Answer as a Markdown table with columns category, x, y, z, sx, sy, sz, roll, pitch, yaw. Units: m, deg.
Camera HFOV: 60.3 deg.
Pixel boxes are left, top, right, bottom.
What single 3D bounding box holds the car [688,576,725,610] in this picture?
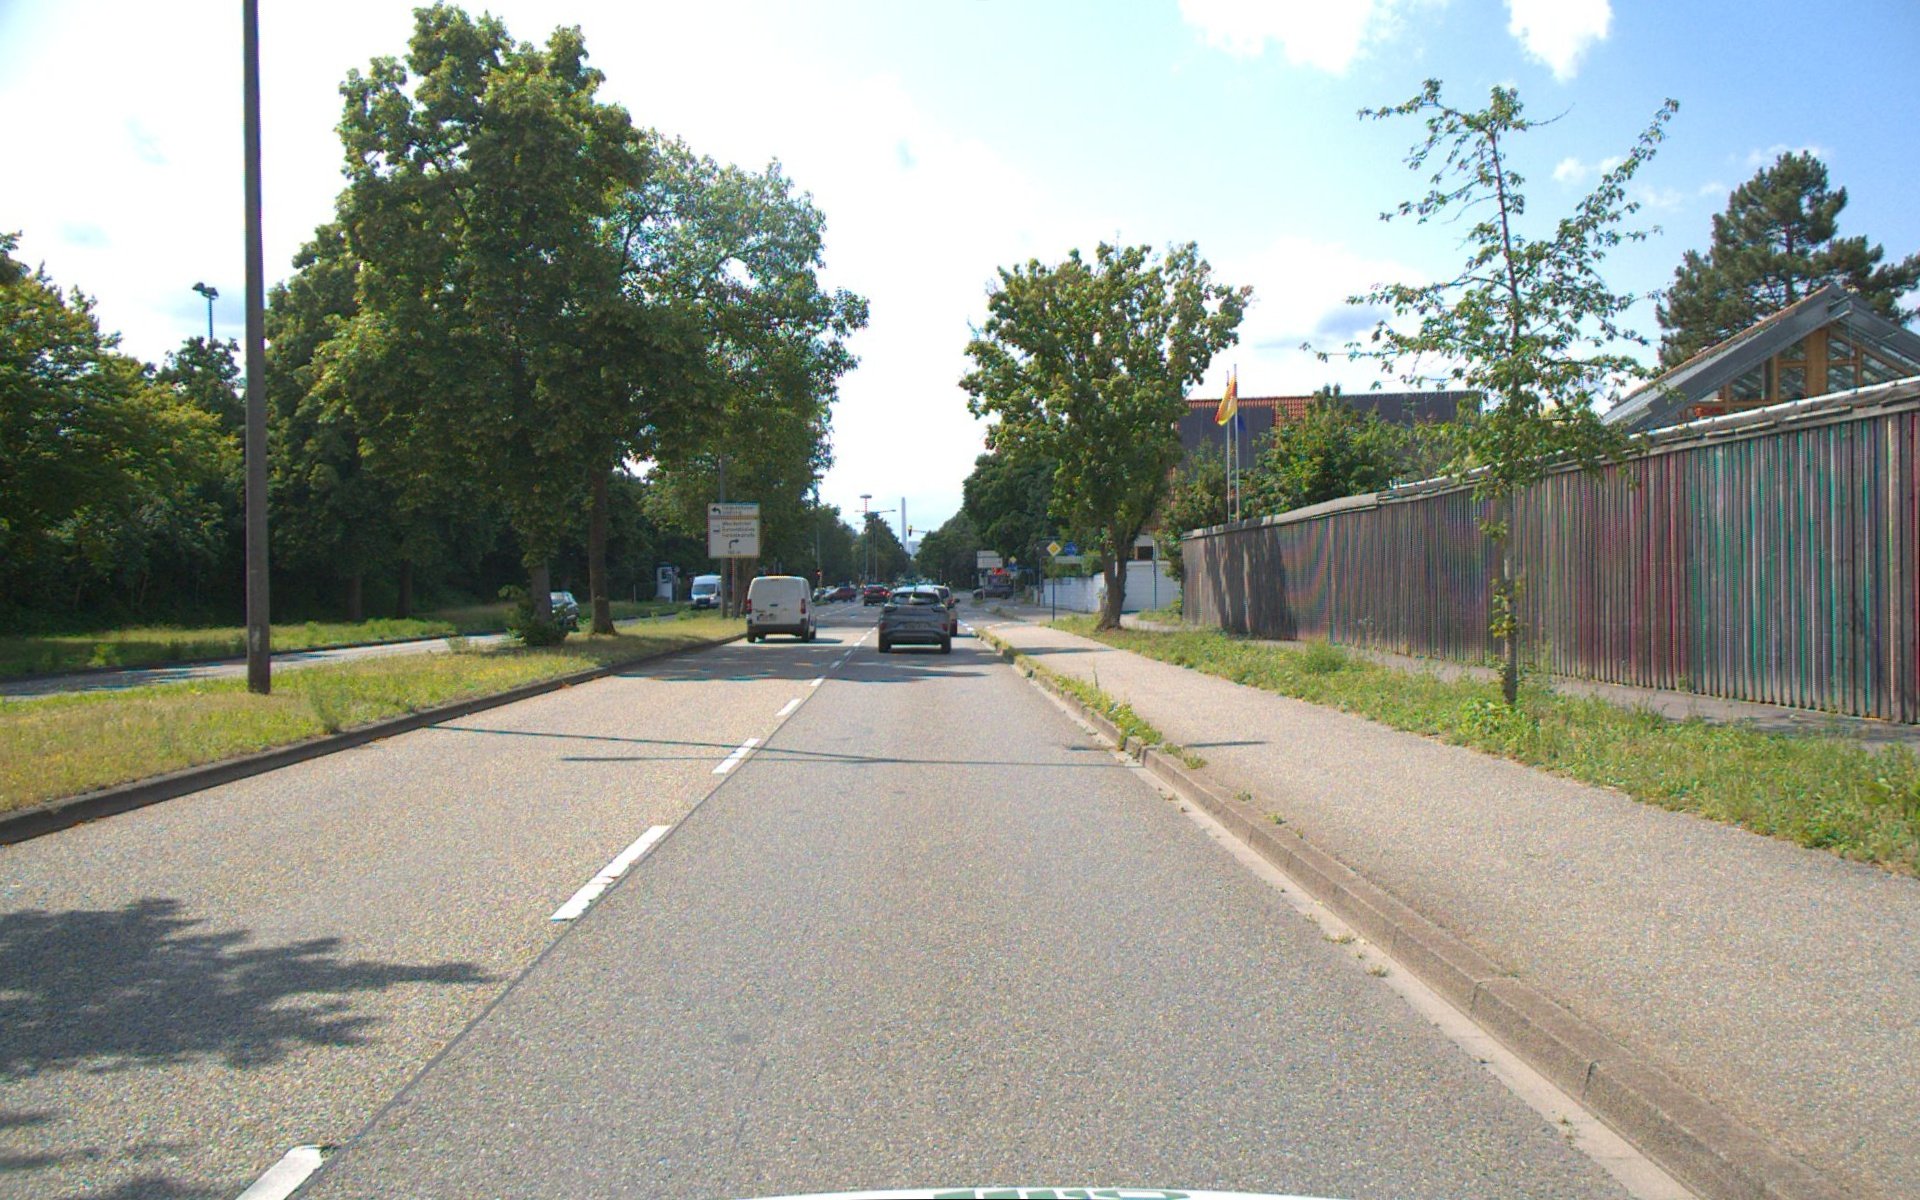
| category | x | y | z | sx | sy | sz | roll | pitch | yaw |
| --- | --- | --- | --- | --- | --- | --- | --- | --- | --- |
| car | -18.769 | -0.542 | 122.510 | 2.004 | 2.474 | 5.249 | -1 | 0 | -1 |

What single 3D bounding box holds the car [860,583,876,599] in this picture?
| category | x | y | z | sx | sy | sz | roll | pitch | yaw |
| --- | --- | --- | --- | --- | --- | --- | --- | --- | --- |
| car | -10.812 | -1.062 | 195.265 | 1.743 | 1.798 | 4.150 | -1 | 0 | -1 |

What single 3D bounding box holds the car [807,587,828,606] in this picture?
| category | x | y | z | sx | sy | sz | roll | pitch | yaw |
| --- | --- | --- | --- | --- | --- | --- | --- | --- | --- |
| car | -13.796 | -0.390 | 160.399 | 1.743 | 1.798 | 4.124 | -1 | 0 | -1 |

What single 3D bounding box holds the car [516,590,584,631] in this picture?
| category | x | y | z | sx | sy | sz | roll | pitch | yaw |
| --- | --- | --- | --- | --- | --- | --- | --- | --- | --- |
| car | -17.734 | 0.426 | 71.763 | 1.953 | 1.735 | 4.192 | -1 | 0 | -1 |

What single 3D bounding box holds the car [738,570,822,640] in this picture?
| category | x | y | z | sx | sy | sz | roll | pitch | yaw |
| --- | --- | --- | --- | --- | --- | --- | --- | --- | --- |
| car | -5.165 | 0.111 | 48.035 | 2.024 | 1.945 | 4.645 | 0 | 1 | -1 |

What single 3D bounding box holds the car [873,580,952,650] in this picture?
| category | x | y | z | sx | sy | sz | roll | pitch | yaw |
| --- | --- | --- | --- | --- | --- | --- | --- | --- | --- |
| car | -1.147 | 0.336 | 40.608 | 1.837 | 1.616 | 4.183 | -1 | 0 | -1 |

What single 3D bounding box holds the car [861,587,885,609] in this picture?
| category | x | y | z | sx | sy | sz | roll | pitch | yaw |
| --- | --- | --- | --- | --- | --- | --- | --- | --- | --- |
| car | -7.503 | -0.202 | 142.123 | 1.902 | 1.798 | 4.145 | -1 | 0 | -1 |

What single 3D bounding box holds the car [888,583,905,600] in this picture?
| category | x | y | z | sx | sy | sz | roll | pitch | yaw |
| --- | --- | --- | --- | --- | --- | --- | --- | --- | --- |
| car | -6.847 | -0.914 | 179.213 | 1.743 | 1.798 | 3.999 | -1 | 0 | -1 |

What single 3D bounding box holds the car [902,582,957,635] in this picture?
| category | x | y | z | sx | sy | sz | roll | pitch | yaw |
| --- | --- | --- | --- | --- | --- | --- | --- | --- | --- |
| car | -1.018 | 0.249 | 55.215 | 1.743 | 1.672 | 4.195 | -1 | 0 | -1 |
